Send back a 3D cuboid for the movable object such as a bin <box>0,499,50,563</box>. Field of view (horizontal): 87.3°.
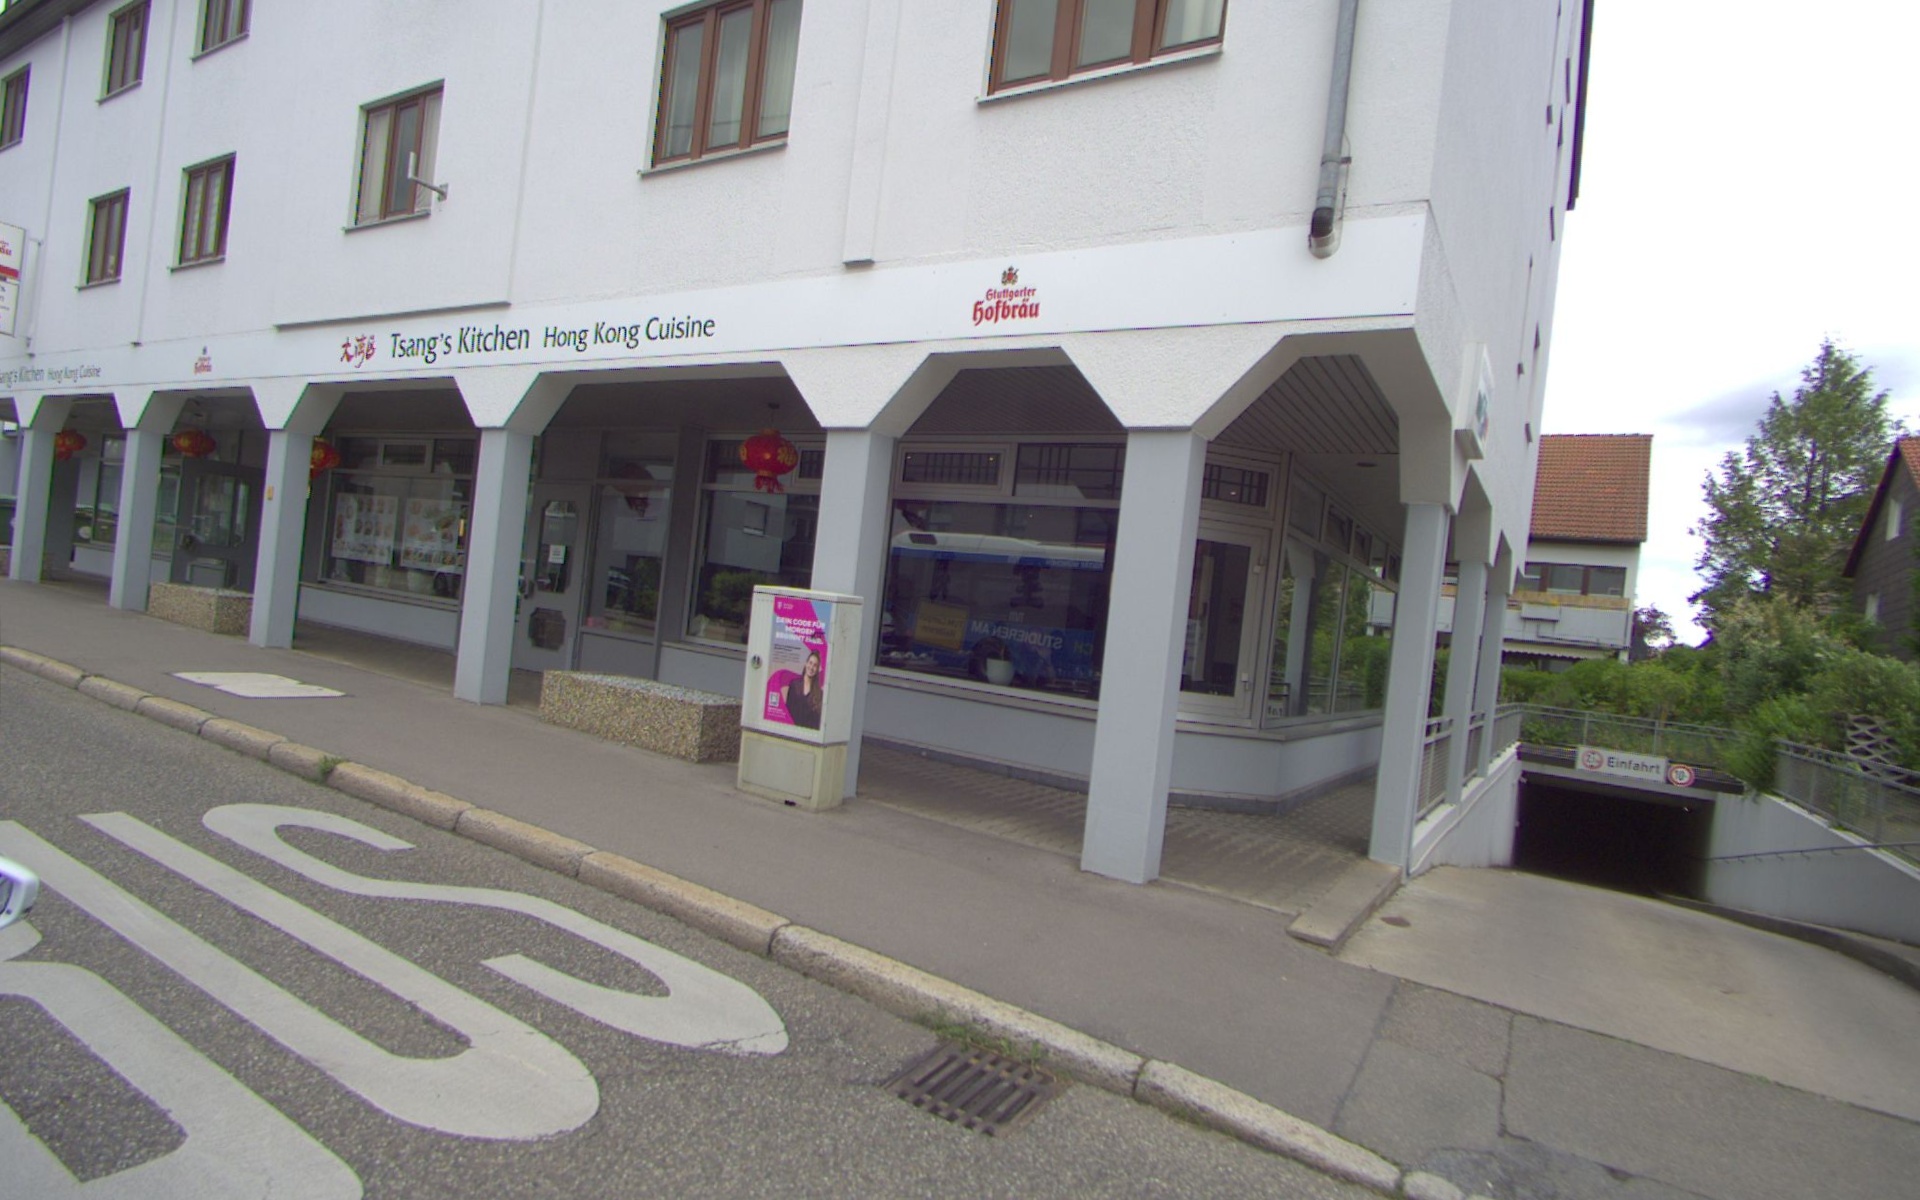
[{"bbox_3d":[-23.419,-1.743,24.743,1.239,1.434,1.210,7,0,35],"label":"movable object such as a bin"}]

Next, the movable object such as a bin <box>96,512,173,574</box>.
[{"bbox_3d":[-22.038,-1.521,26.866,1.239,1.434,1.210,7,0,35],"label":"movable object such as a bin"}]

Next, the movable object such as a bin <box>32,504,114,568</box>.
[{"bbox_3d":[-22.748,-1.634,25.803,1.239,1.434,1.210,7,0,35],"label":"movable object such as a bin"}]
